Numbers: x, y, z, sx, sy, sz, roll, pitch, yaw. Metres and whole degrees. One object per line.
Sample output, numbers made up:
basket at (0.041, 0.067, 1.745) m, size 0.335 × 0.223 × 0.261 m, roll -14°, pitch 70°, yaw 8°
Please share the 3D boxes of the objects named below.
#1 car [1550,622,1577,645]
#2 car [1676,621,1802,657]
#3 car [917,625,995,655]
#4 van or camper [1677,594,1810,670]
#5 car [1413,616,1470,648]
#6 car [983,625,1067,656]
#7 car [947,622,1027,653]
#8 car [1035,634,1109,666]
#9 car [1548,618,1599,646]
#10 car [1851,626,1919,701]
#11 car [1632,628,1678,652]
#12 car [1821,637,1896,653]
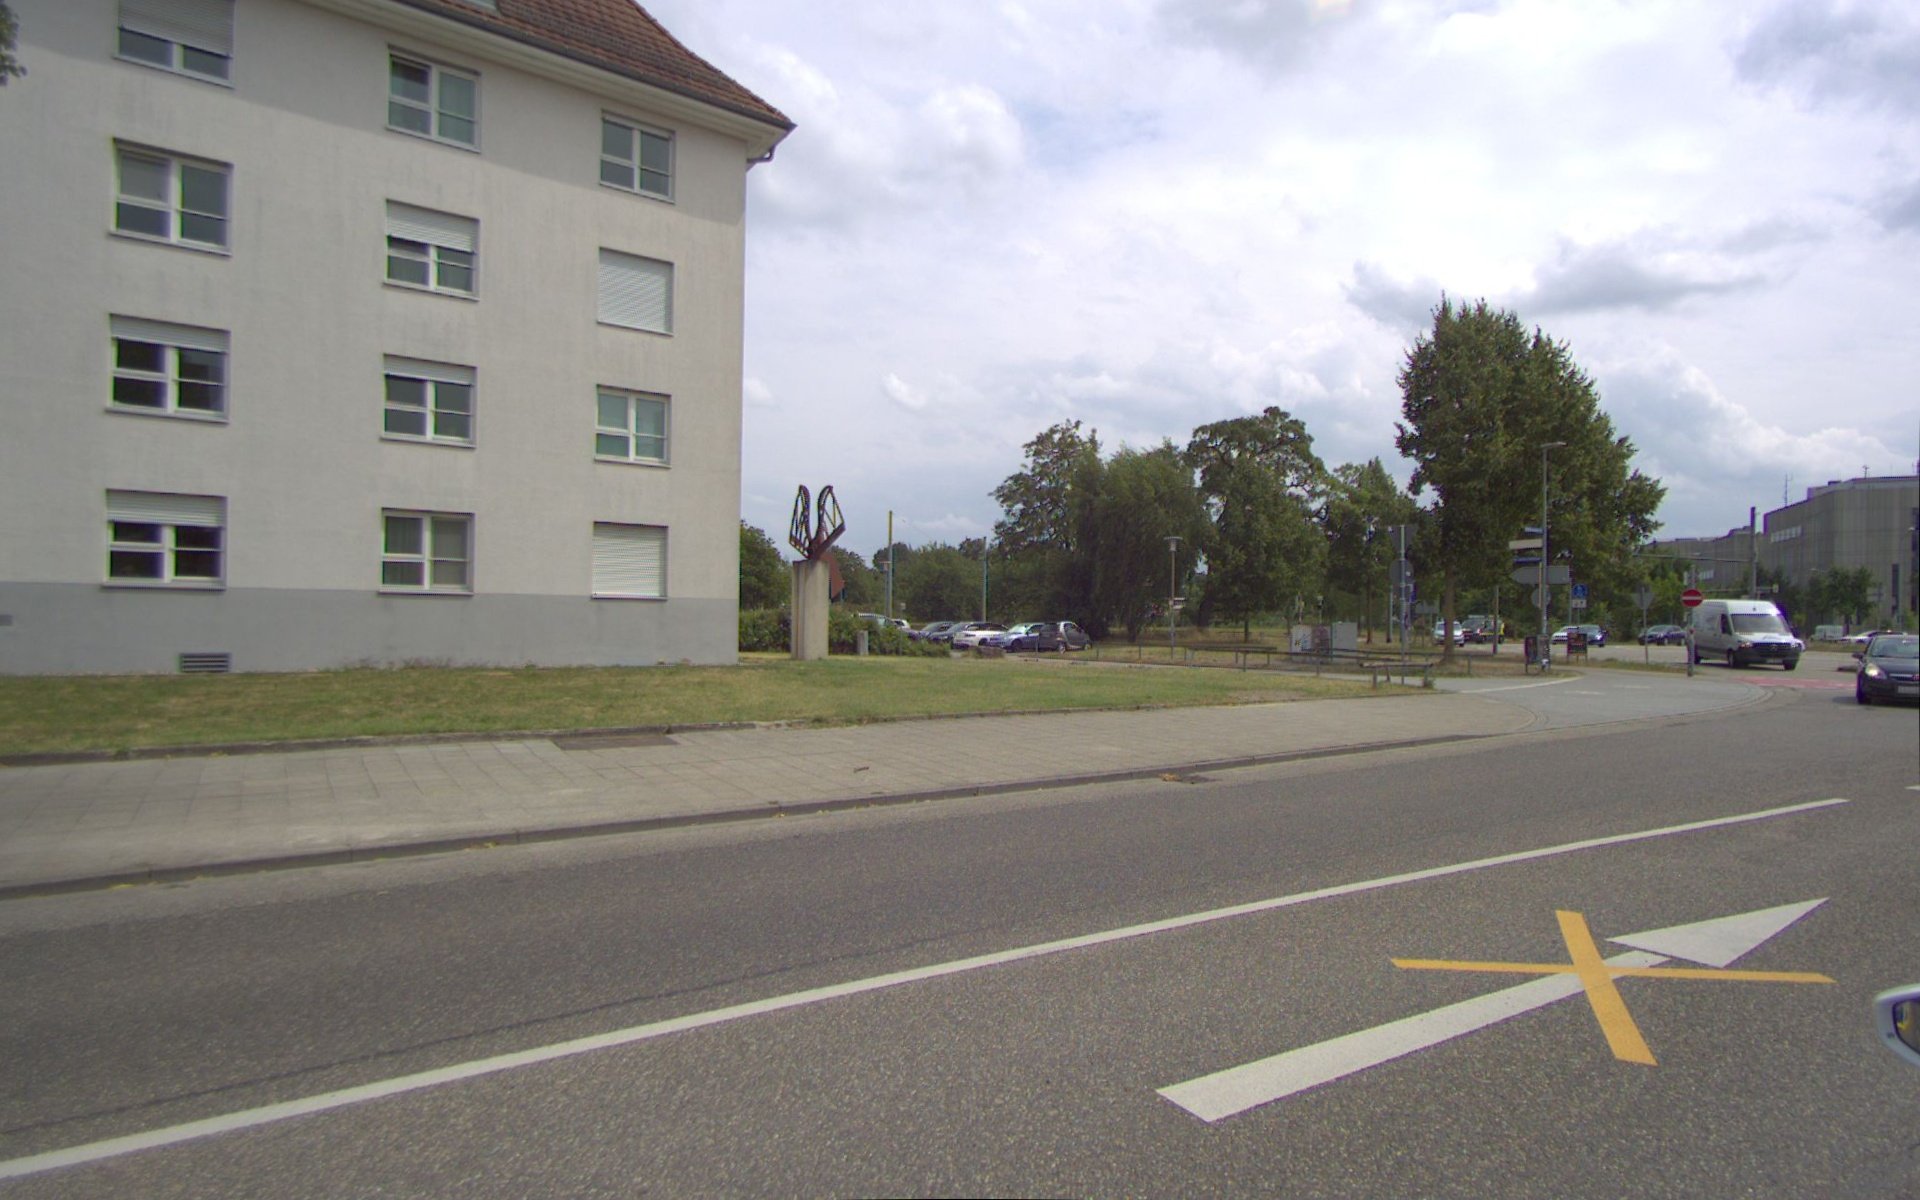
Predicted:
car at (47.724, 2.658, 79.431) m, size 1.737 × 1.795 × 3.993 m, roll -2°, pitch -3°, yaw 30°
car at (37.313, 1.838, 48.306) m, size 1.830 × 1.599 × 5.039 m, roll 1°, pitch -1°, yaw -6°
car at (-0.207, 2.206, 55.825) m, size 4.100 × 1.612 × 1.796 m, roll 1°, pitch -2°, yaw -37°
van or camper at (30.865, 1.257, 39.838) m, size 2.114 × 2.761 × 6.279 m, roll -1°, pitch -1°, yaw 18°
car at (31.820, 2.141, 66.489) m, size 1.960 × 2.040 × 4.002 m, roll 0°, pitch -2°, yaw 3°
car at (3.363, 2.041, 51.778) m, size 4.094 × 1.529 × 1.799 m, roll 1°, pitch -2°, yaw -33°
car at (1.476, 1.994, 53.968) m, size 4.100 × 1.612 × 1.796 m, roll 1°, pitch -2°, yaw -37°
car at (5.661, 2.479, 50.510) m, size 3.602 × 1.497 × 1.647 m, roll 1°, pitch -2°, yaw -39°
car at (41.150, 2.189, 67.439) m, size 1.960 × 1.795 × 4.002 m, roll -1°, pitch -2°, yaw 17°
car at (20.637, 1.326, 21.597) m, size 4.225 × 1.498 × 1.756 m, roll 2°, pitch -1°, yaw -42°
car at (53.854, 3.089, 77.805) m, size 3.963 × 1.795 × 1.750 m, roll 1°, pitch -3°, yaw -37°
car at (68.868, 3.428, 77.025) m, size 3.923 × 1.208 × 1.685 m, roll -1°, pitch -2°, yaw 23°
